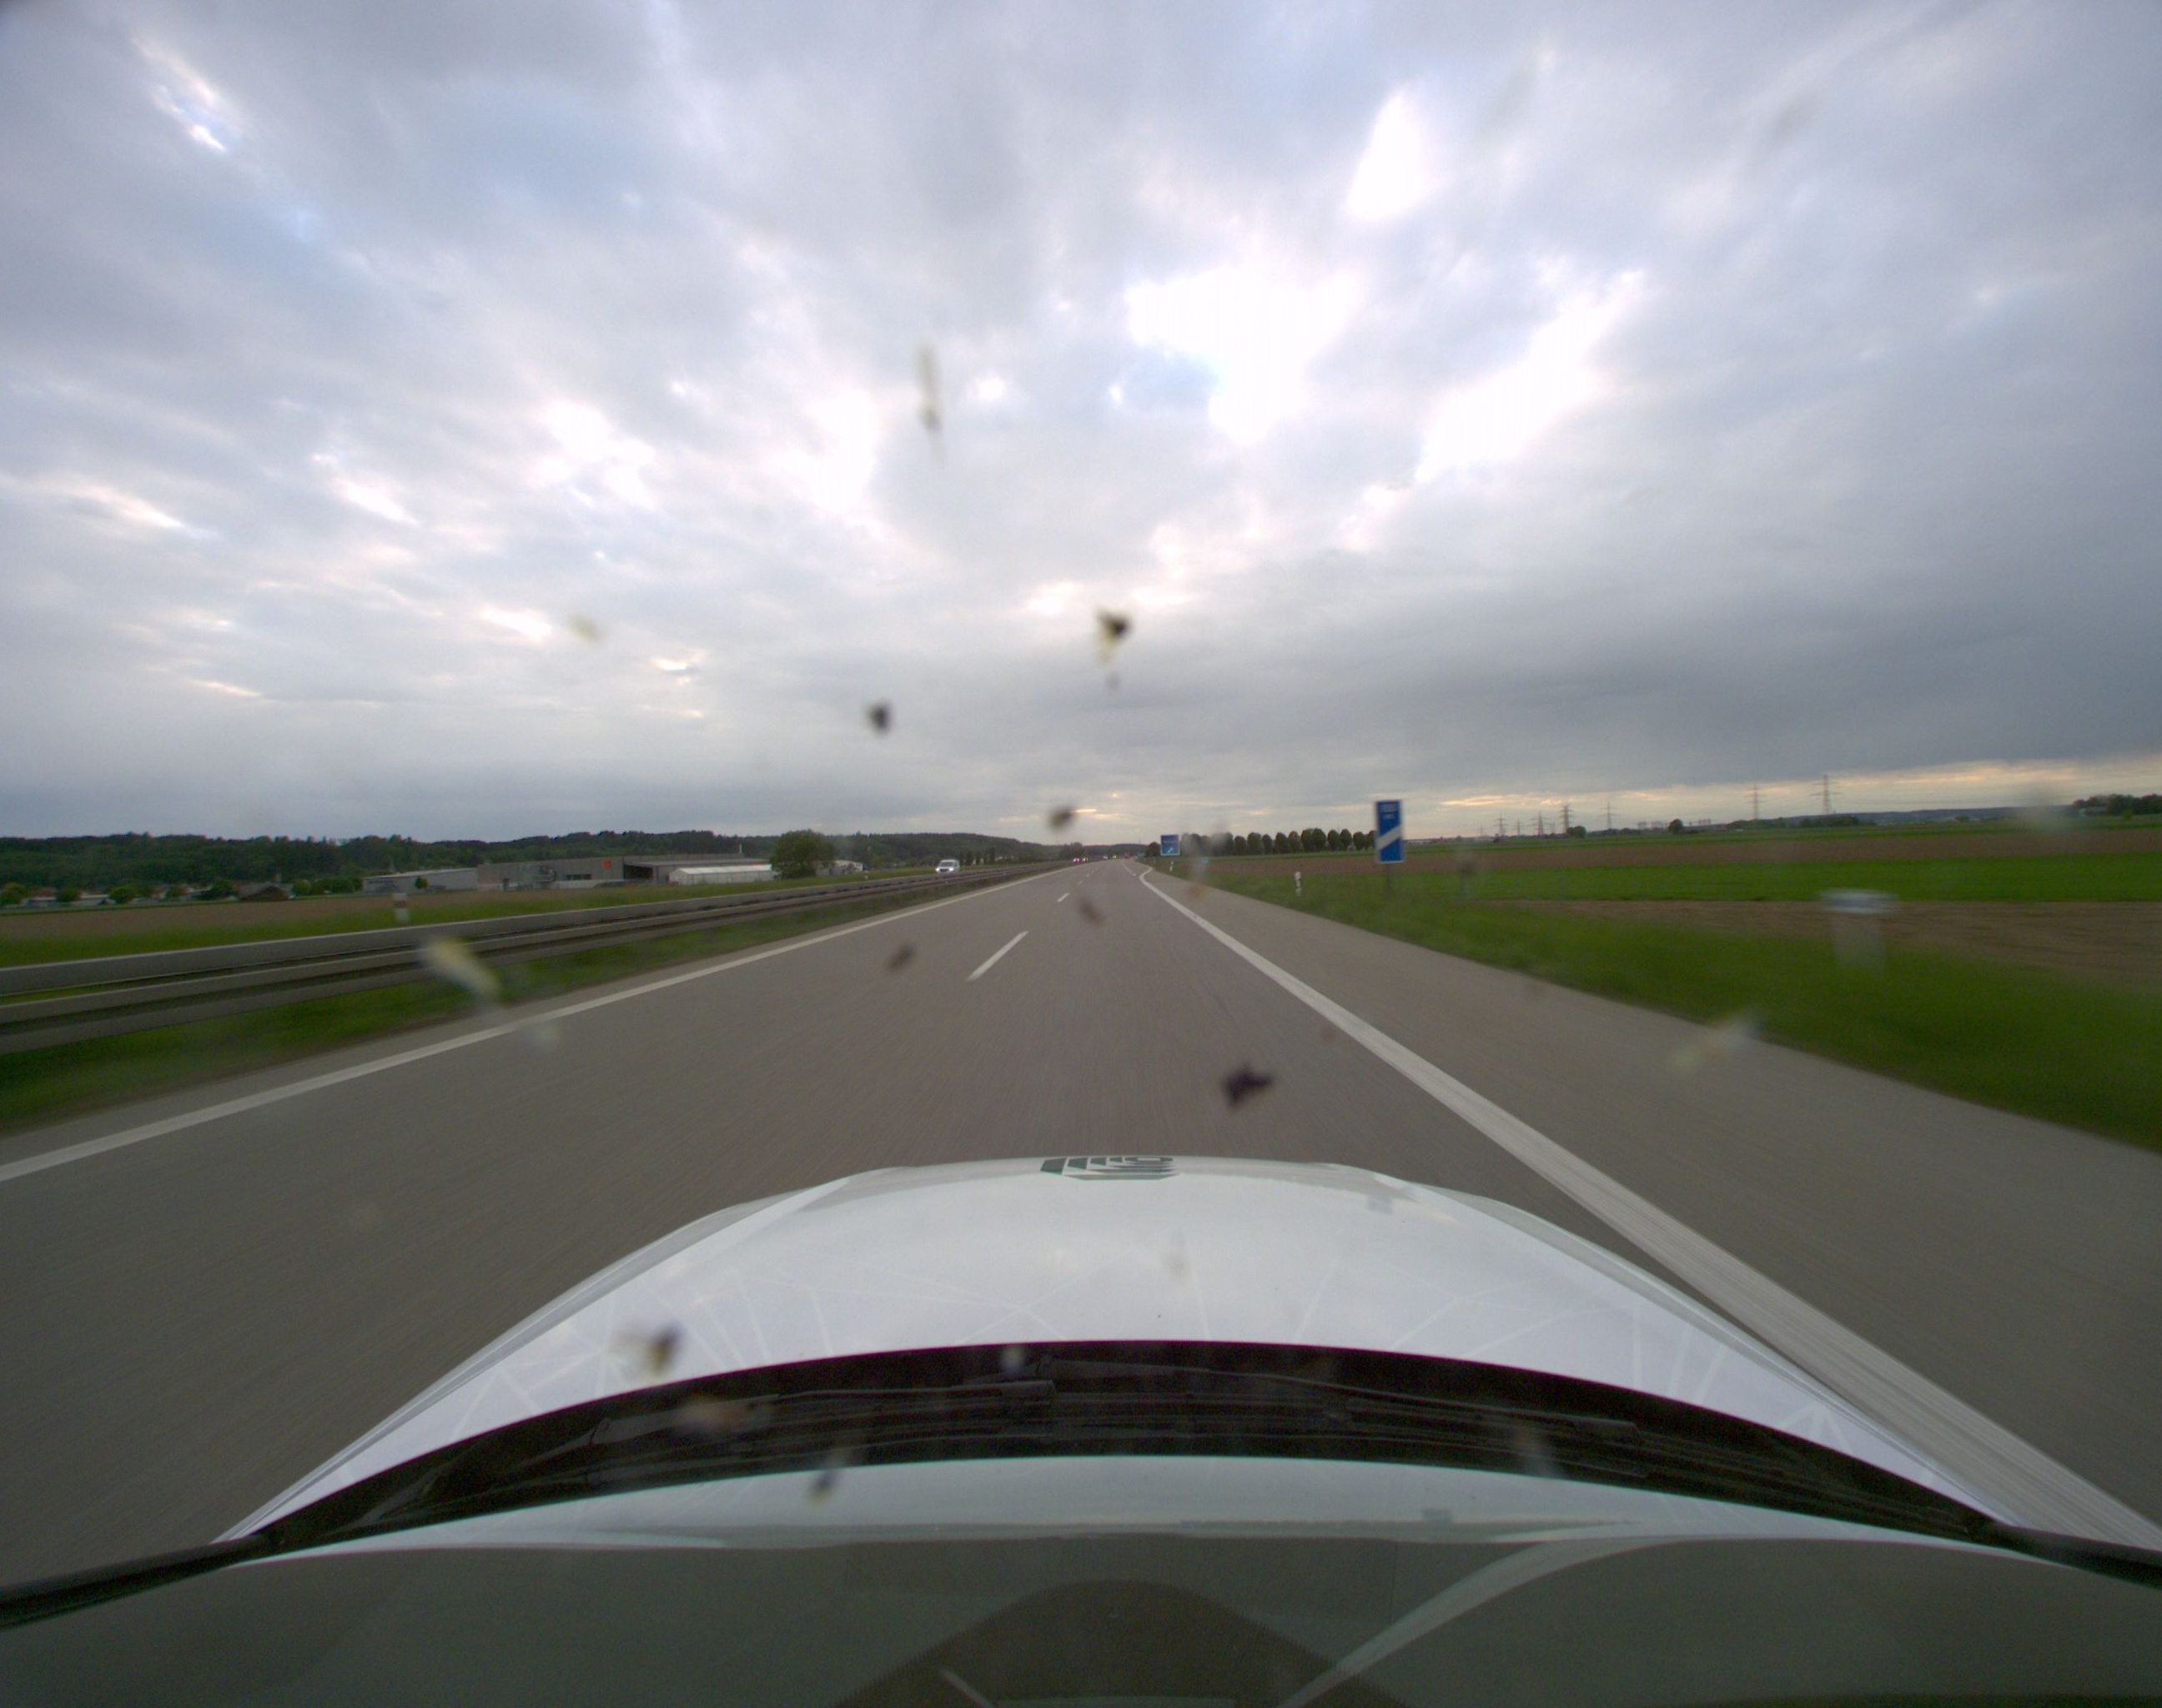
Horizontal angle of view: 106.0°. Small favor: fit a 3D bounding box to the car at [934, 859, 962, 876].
[{"bbox_3d":[-14.002,1.411,85.855,1.986,1.765,4.953,0,0,1],"label":"car"}]
